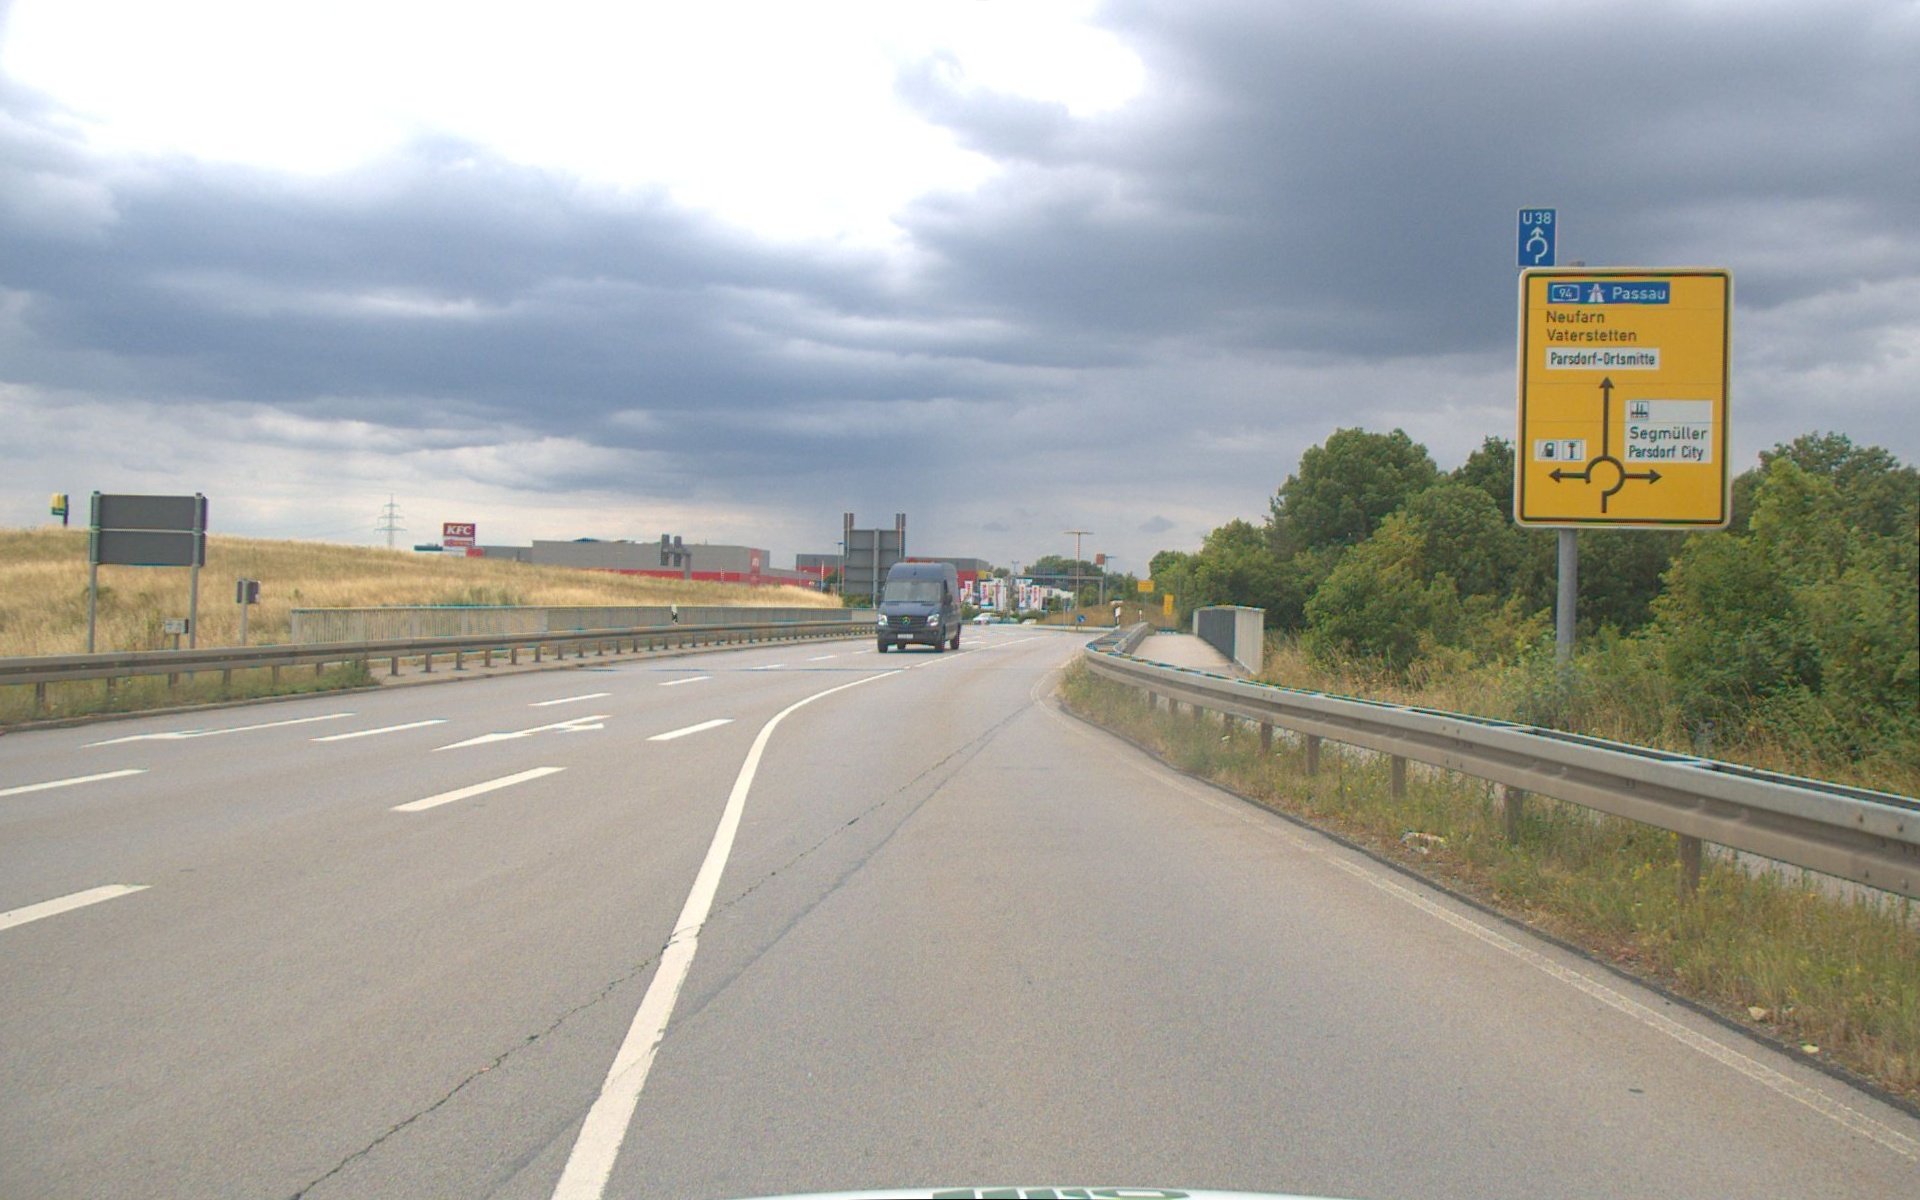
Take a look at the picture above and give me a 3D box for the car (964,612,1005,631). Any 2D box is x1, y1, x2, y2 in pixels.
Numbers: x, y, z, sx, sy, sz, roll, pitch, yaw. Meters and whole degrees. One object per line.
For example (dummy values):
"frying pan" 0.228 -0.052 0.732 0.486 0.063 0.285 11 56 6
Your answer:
"car" 2.608 2.238 176.371 3.913 1.909 1.996 2 0 30

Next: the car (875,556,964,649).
"car" -1.157 0.069 49.963 1.951 2.638 6.008 1 0 6
